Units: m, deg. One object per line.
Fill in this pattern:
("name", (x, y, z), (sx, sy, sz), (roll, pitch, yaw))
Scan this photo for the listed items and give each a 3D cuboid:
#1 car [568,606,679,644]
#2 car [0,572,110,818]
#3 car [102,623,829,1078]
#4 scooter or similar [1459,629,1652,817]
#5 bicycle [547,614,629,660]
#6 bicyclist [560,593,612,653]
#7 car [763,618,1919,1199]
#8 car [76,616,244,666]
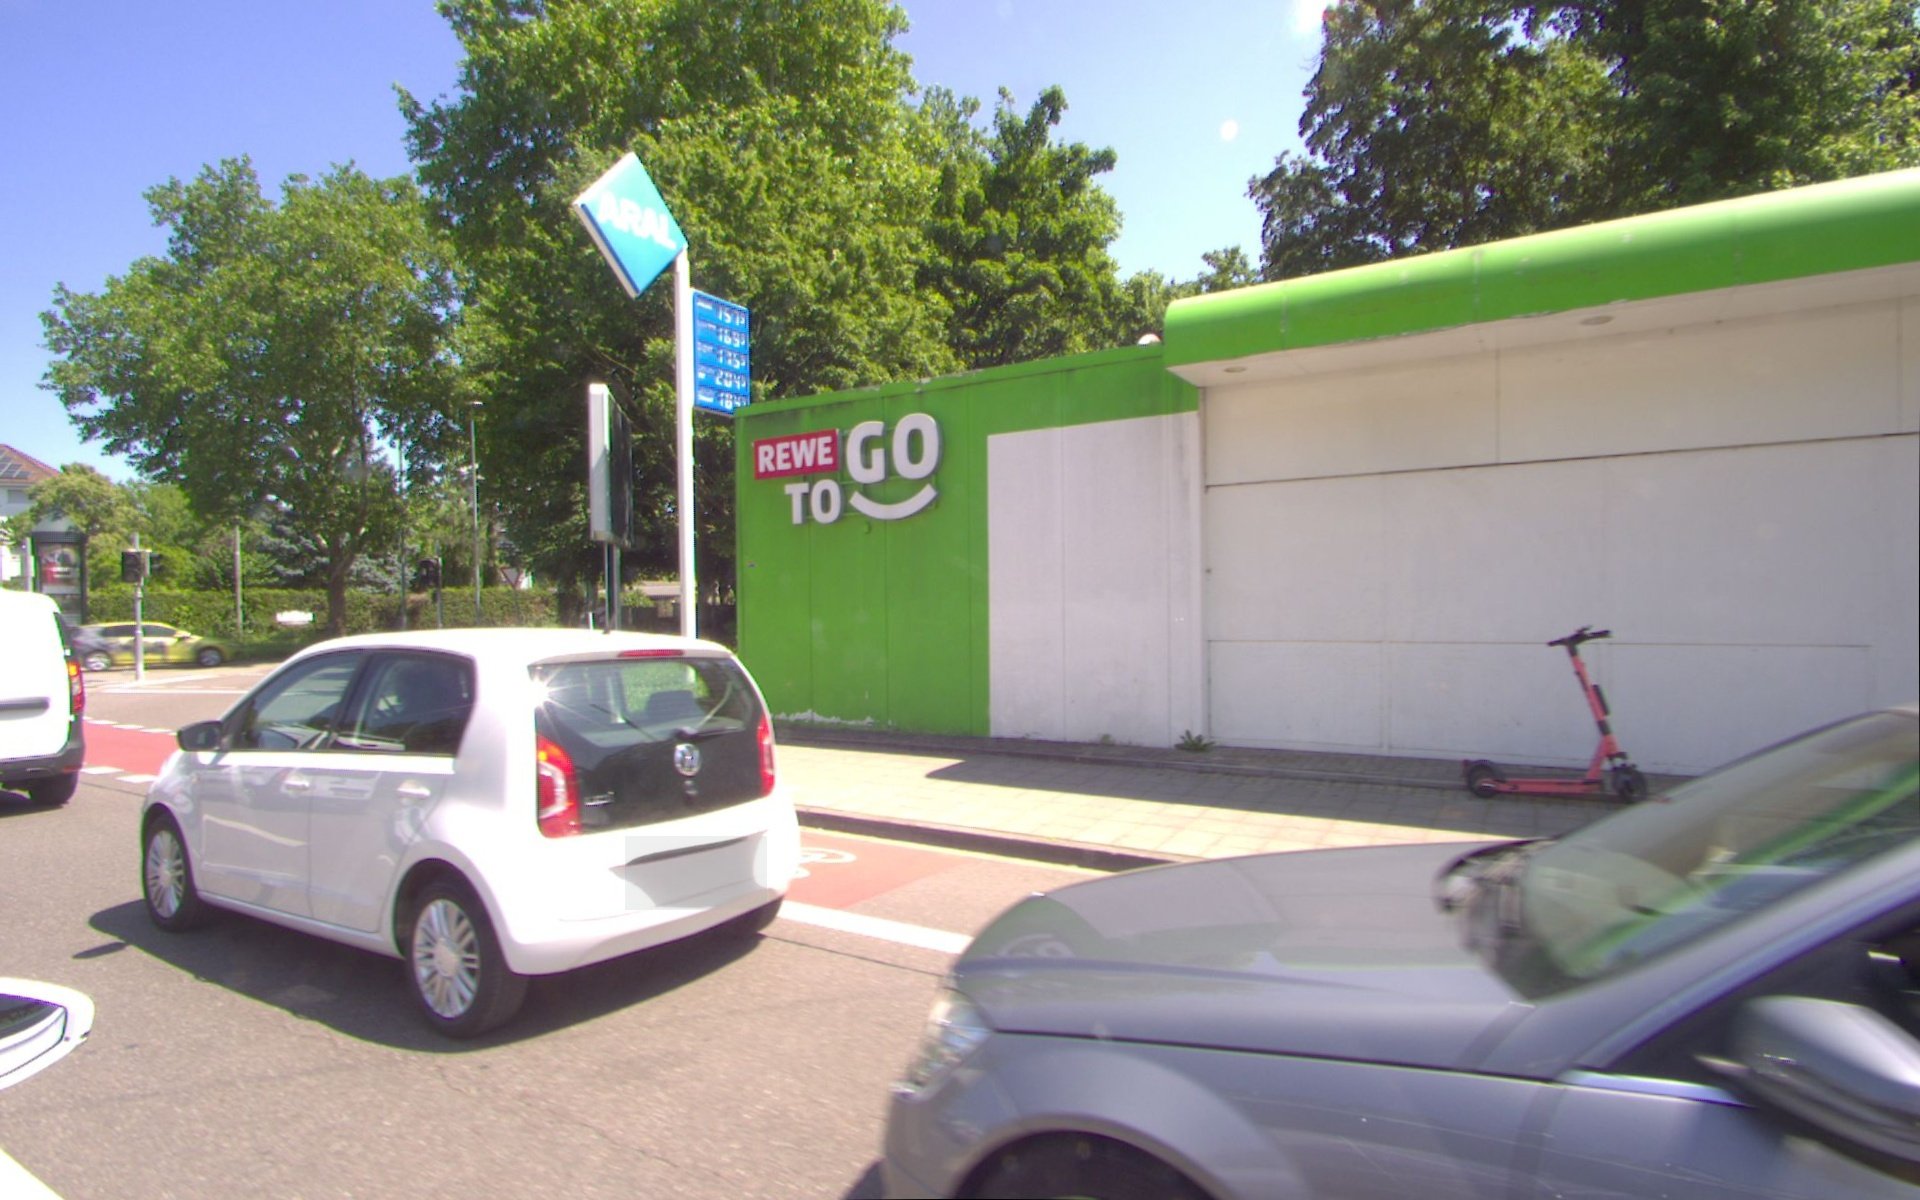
("car", (-15.149, 1.091, 45.268), (1.974, 1.638, 4.427), (0, 0, 36))
("car", (-9.030, 0.733, 8.366), (3.953, 1.854, 1.708), (-1, 0, 30))
("car", (-2.493, 0.857, 4.869), (3.470, 1.470, 1.604), (-1, -2, 32))
("scooter or similar", (4.158, 0.819, 7.019), (1.124, 1.211, 0.381), (-1, 3, 36))
("bicycle", (-11.153, 1.085, 30.092), (0.873, 1.285, 2.259), (0, 0, 30))
("bicyclist", (-11.196, 0.680, 29.960), (1.114, 1.762, 0.953), (0, 0, 30))
("car", (1.917, 0.772, 1.578), (4.355, 1.468, 1.792), (-1, 0, 32))
("car", (-24.580, 1.215, 30.850), (3.962, 1.397, 1.529), (0, 0, -43))
